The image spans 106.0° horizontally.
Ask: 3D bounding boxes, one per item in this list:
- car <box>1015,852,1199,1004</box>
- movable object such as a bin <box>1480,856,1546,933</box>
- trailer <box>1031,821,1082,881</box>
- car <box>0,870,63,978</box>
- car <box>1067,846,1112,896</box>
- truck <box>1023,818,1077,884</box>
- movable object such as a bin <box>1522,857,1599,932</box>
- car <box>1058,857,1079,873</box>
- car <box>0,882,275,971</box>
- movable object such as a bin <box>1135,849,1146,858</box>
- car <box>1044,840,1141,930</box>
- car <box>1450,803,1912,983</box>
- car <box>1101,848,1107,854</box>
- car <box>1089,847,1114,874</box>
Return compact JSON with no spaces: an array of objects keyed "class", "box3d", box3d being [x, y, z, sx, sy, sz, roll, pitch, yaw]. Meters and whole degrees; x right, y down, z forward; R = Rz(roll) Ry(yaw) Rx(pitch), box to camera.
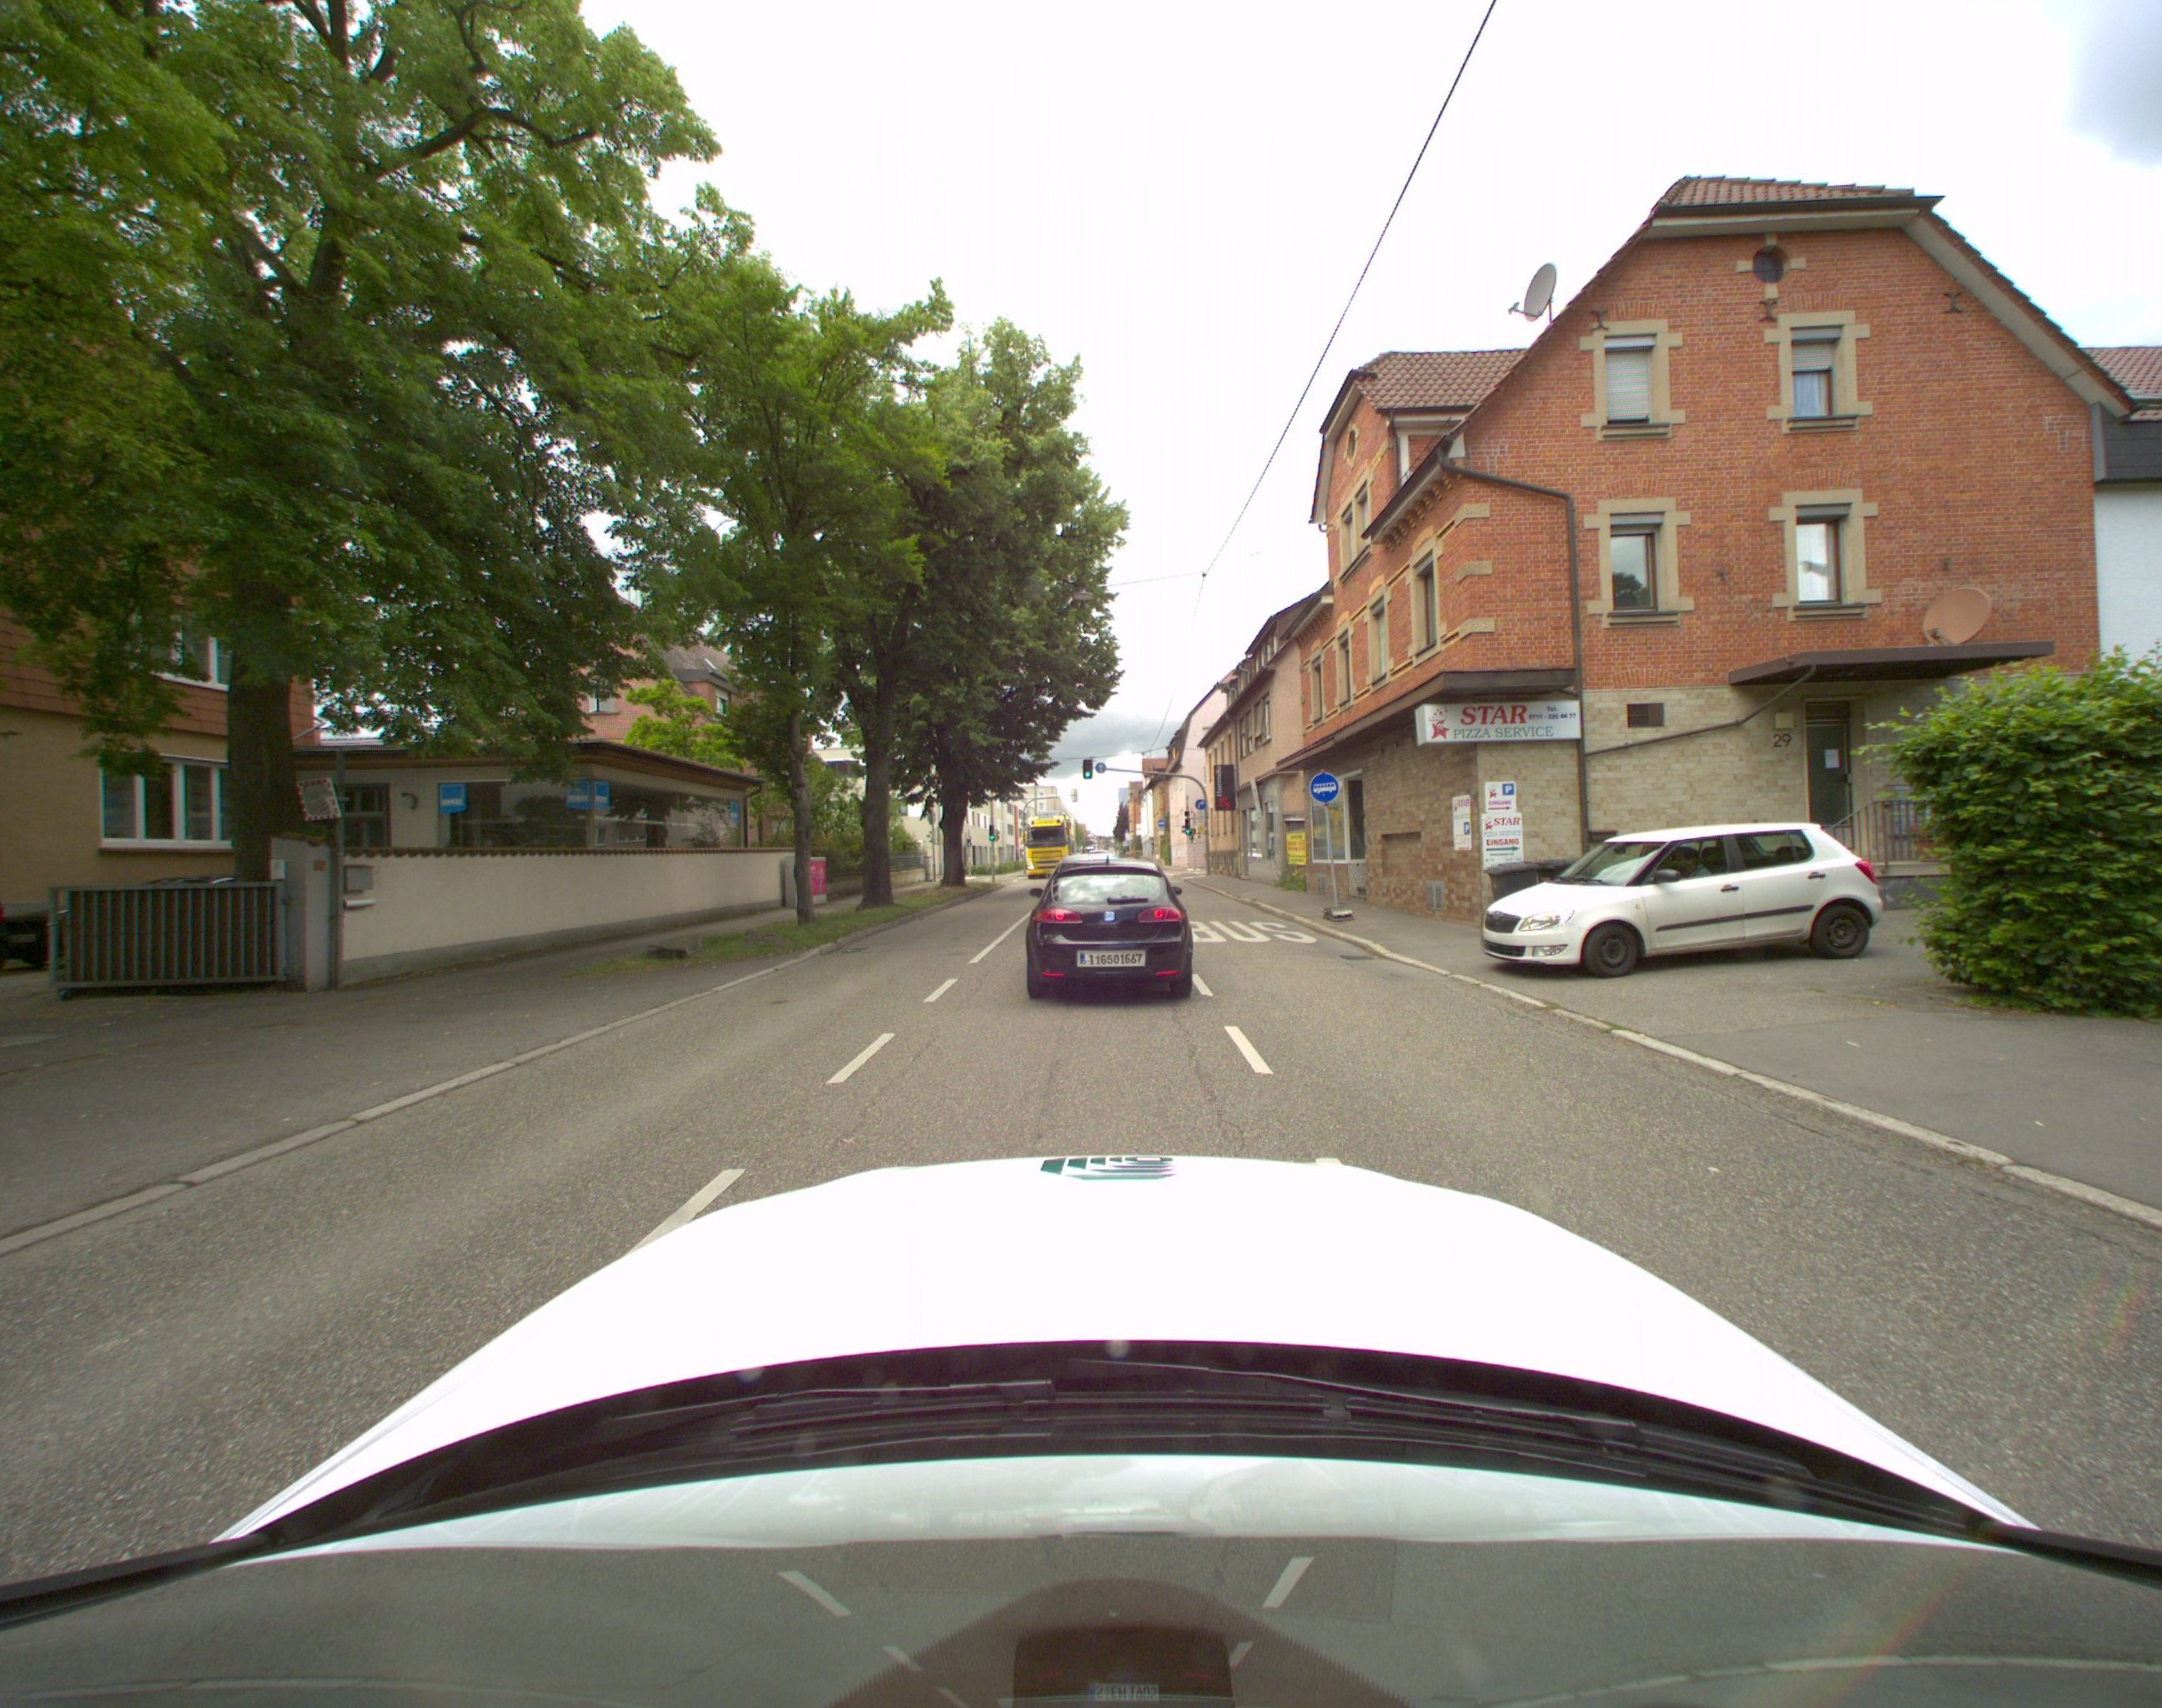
[{"class":"car","box3d":[0.301,0.721,9.854,1.752,1.442,4.001,-1,0,1]},{"class":"movable object such as a bin","box3d":[6.512,0.599,12.304,0.604,1.100,0.623,-4,-1,1]},{"class":"trailer","box3d":[-1.549,-0.142,59.422,2.847,3.808,14.396,-1,0,2]},{"class":"car","box3d":[-17.374,1.072,11.160,1.774,1.640,4.000,-1,0,1]},{"class":"car","box3d":[0.329,0.592,29.604,1.526,1.693,3.694,-1,0,1]},{"class":"truck","box3d":[-1.816,-0.145,51.058,2.833,3.782,7.672,-1,0,2]},{"class":"movable object such as a bin","box3d":[7.255,0.599,12.351,0.696,1.059,0.724,-4,-1,1]},{"class":"car","box3d":[-1.181,1.076,80.956,1.760,1.470,4.228,-5,0,2]},{"class":"car","box3d":[-17.085,1.228,14.867,1.336,1.330,3.398,-1,0,0]},{"class":"movable object such as a bin","box3d":[10.308,-0.081,141.660,1.811,1.437,1.994,-1,0,2]},{"class":"car","box3d":[0.256,0.599,17.519,1.836,1.693,4.001,-1,0,1]},{"class":"car","box3d":[6.625,0.403,9.281,4.017,1.470,1.600,-6,0,-1]},{"class":"car","box3d":[6.523,-0.899,230.810,1.526,1.693,3.694,-2,0,1]},{"class":"car","box3d":[1.338,0.430,52.746,1.526,1.693,3.694,-1,0,1]}]
